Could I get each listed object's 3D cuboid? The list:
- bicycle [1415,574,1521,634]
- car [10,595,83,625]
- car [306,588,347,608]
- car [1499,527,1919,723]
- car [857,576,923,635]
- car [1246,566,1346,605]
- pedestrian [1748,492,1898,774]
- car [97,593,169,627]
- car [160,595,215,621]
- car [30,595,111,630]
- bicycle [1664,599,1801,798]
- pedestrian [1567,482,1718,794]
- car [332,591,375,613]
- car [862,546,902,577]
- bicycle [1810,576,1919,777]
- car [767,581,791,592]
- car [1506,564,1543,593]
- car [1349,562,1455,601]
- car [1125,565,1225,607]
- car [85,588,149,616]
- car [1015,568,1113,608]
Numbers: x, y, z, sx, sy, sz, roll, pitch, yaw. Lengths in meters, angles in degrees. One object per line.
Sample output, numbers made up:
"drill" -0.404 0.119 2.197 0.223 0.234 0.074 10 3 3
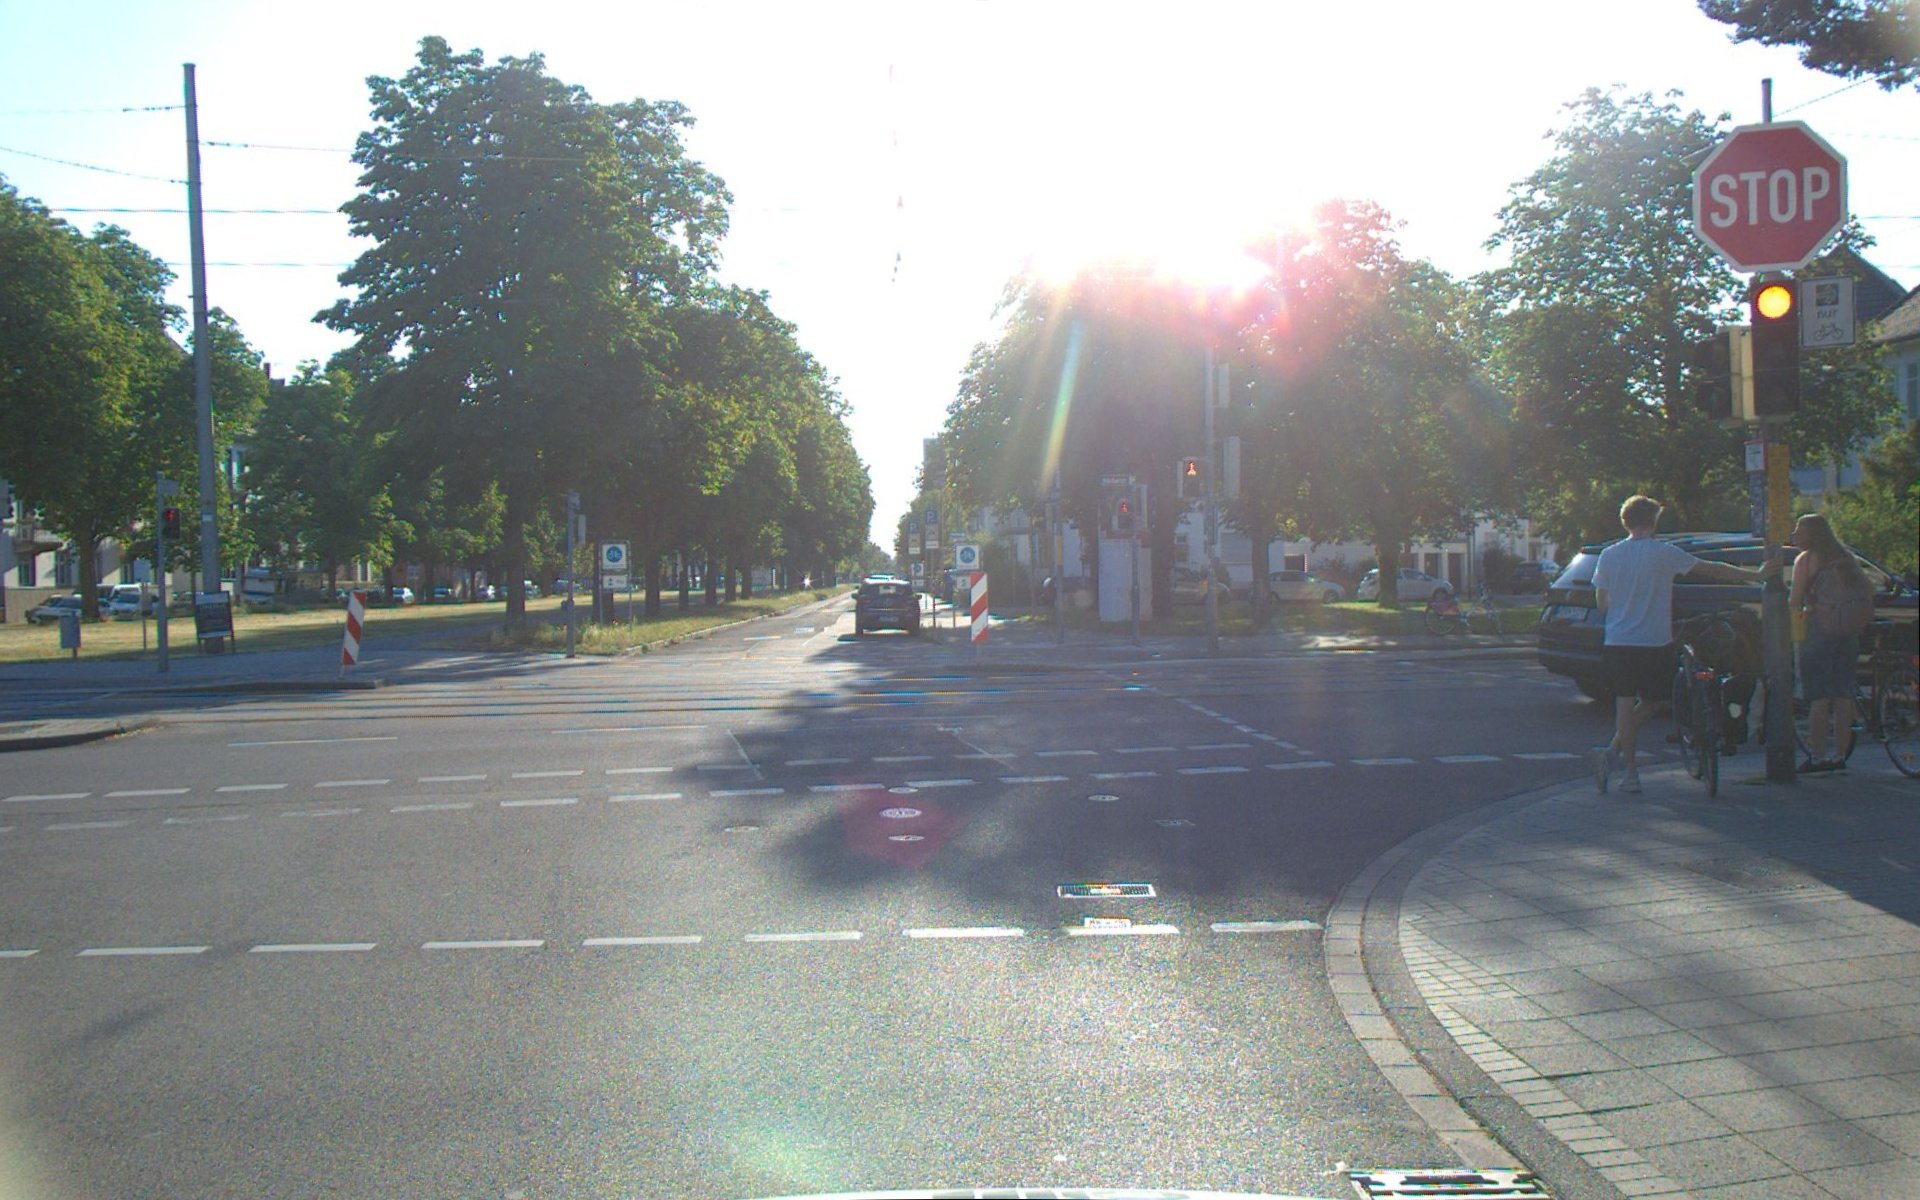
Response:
"bicycle" 10.116 0.081 32.980 1.914 1.152 0.620 -1 0 0
"car" -47.031 0.515 85.217 1.703 1.452 3.791 -1 1 -2
"car" -48.081 -0.145 125.641 1.703 1.452 3.791 -1 1 -2
"car" 7.876 0.186 16.398 4.468 1.692 1.874 -2 1 -12
"car" -1.821 0.119 43.825 1.607 1.476 3.307 -1 1 0
"car" 13.283 -0.583 65.439 3.593 1.452 1.529 -1 1 -7
"pedestrian" 5.564 0.203 10.692 0.655 1.737 0.623 -4 1 17
"car" -40.321 0.466 80.730 1.703 1.452 3.792 -1 2 -2
"car" -47.410 0.473 101.575 1.703 1.452 3.791 -1 1 -2
"car" -40.073 0.535 74.604 1.703 1.452 3.791 -1 1 -2
"bicycle" 4.862 0.575 10.493 0.476 1.116 1.792 -3 0 17
"pedestrian" 4.419 0.244 10.770 0.656 1.897 0.882 -6 -2 18
"car" -42.316 0.116 115.483 1.703 1.452 3.791 -1 1 -2
"car" -3.662 -1.820 77.925 1.808 1.418 3.828 0 1 -2
"bicycle" 5.930 0.452 10.641 0.476 1.162 1.599 -3 1 16
"car" -26.754 -2.011 244.427 3.450 1.452 1.602 -1 1 -4
"car" 28.871 -1.097 84.511 1.629 1.442 3.543 -1 1 21
"car" 17.689 -0.739 66.280 3.772 1.452 1.595 -1 1 -7
"car" 8.479 -0.579 65.420 3.704 1.552 1.743 -1 2 -3
"car" -46.507 0.082 91.315 1.703 1.452 3.791 -1 1 -2
"car" 4.065 -0.486 65.026 3.704 1.452 1.743 -1 2 -3
